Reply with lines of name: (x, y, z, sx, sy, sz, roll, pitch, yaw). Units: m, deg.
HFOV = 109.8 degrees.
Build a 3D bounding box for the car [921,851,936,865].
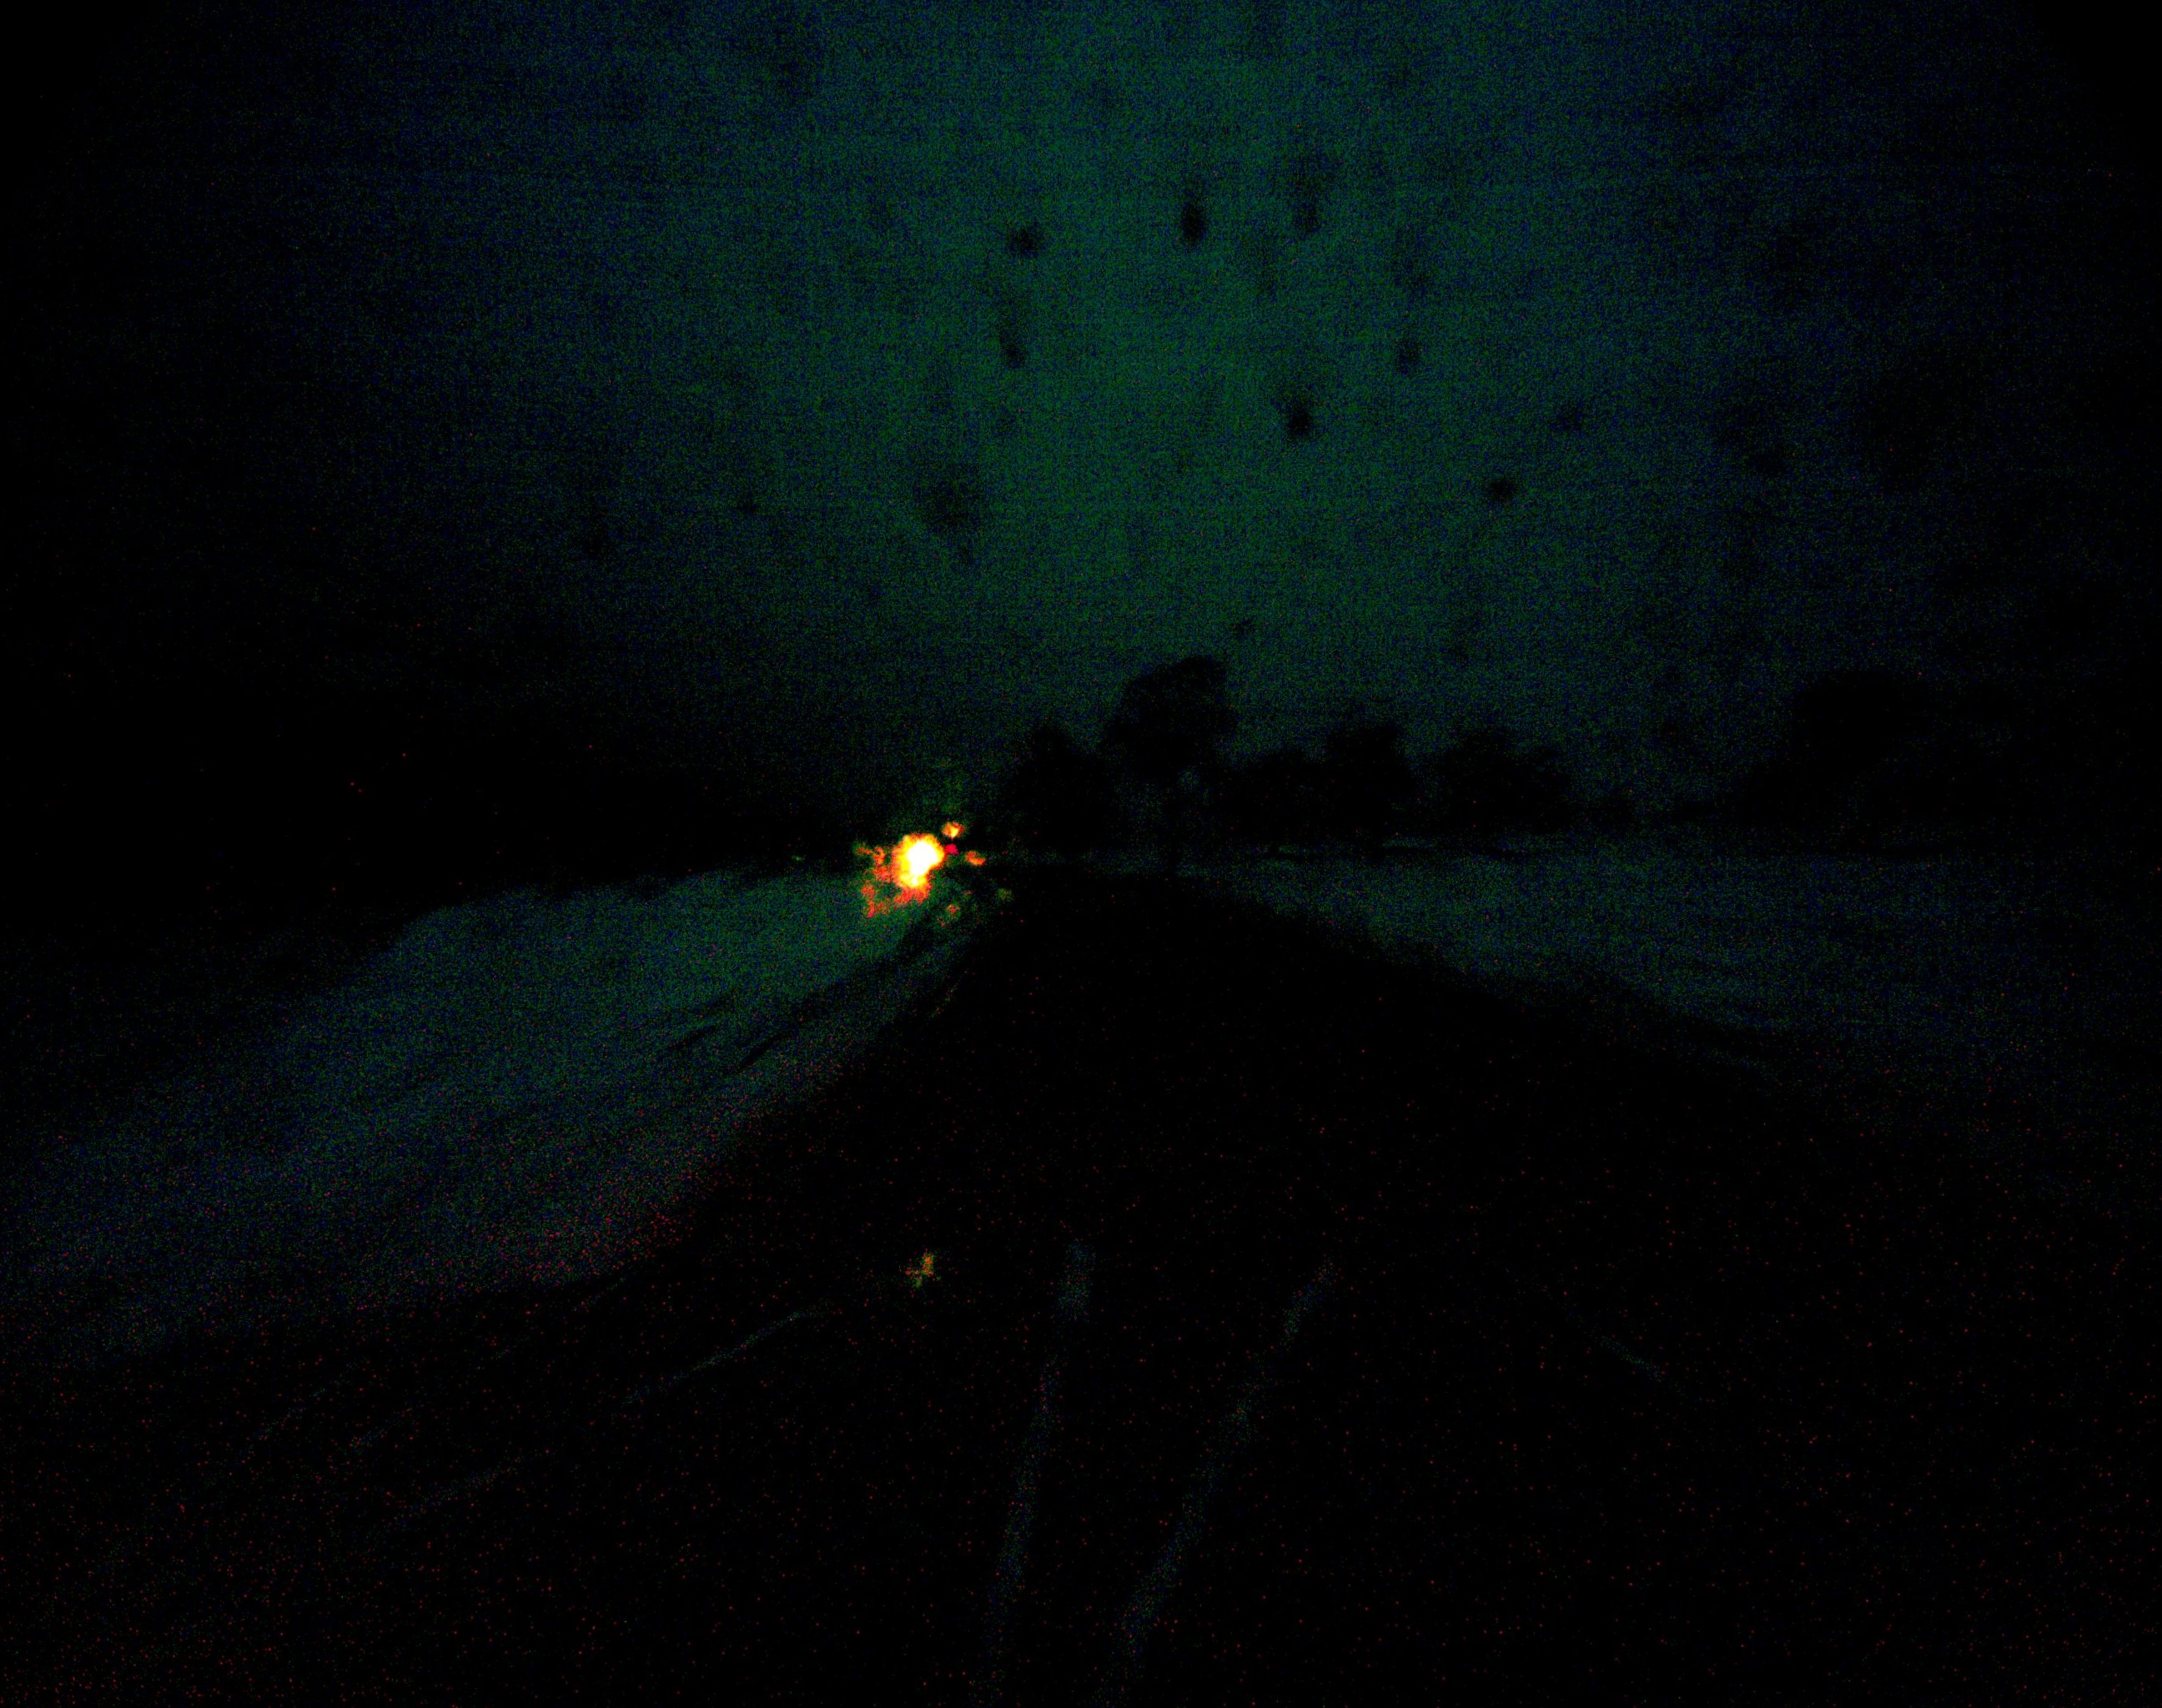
car: (-23.645, 0.585, 117.798, 2.000, 2.002, 3.994, -3, 2, -13)
